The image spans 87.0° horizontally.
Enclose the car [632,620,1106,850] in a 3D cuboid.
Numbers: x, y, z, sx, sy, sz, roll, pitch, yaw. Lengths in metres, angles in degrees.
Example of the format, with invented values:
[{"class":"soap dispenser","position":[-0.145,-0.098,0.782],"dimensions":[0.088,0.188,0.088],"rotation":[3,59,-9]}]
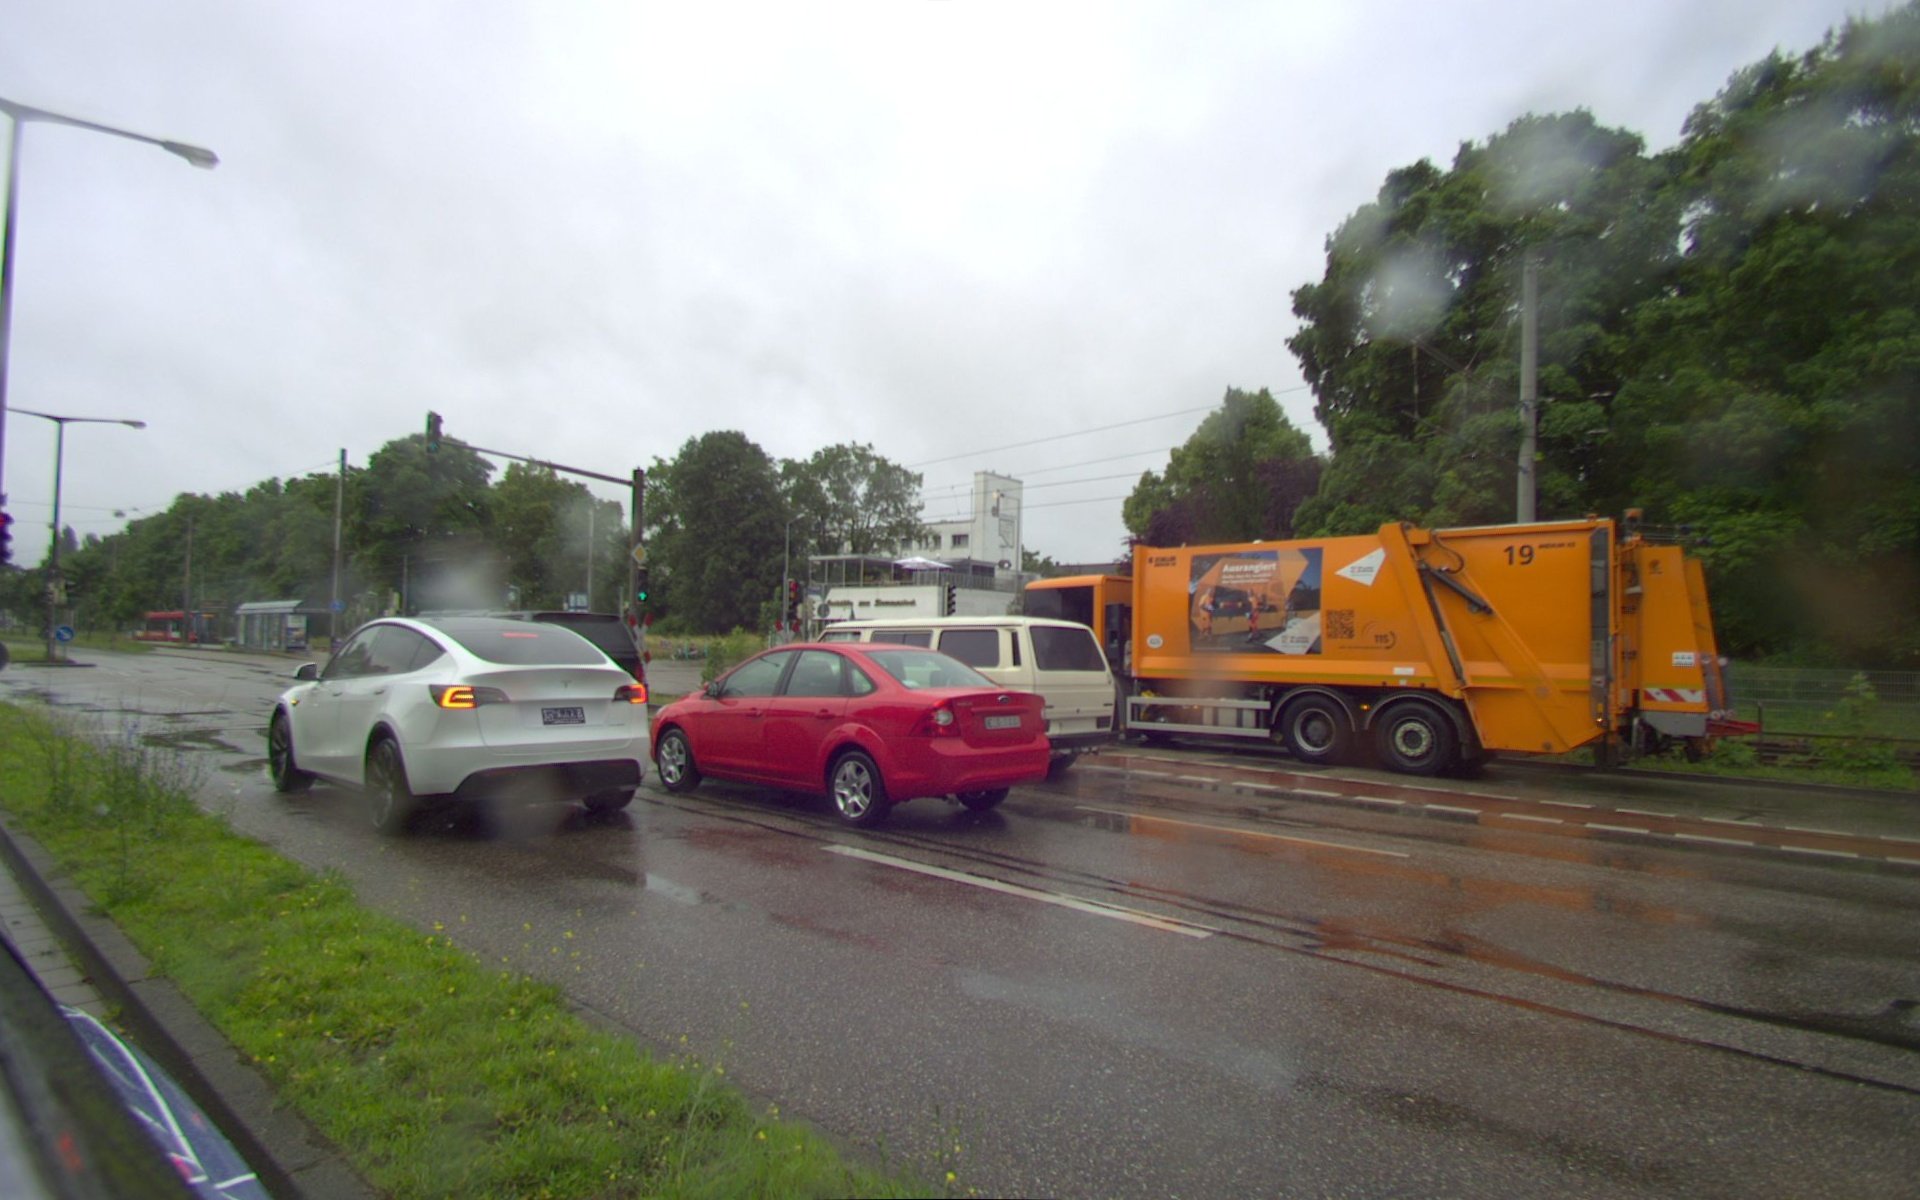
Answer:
[{"class":"car","position":[-1.020,1.039,9.342],"dimensions":[4.428,1.581,1.782],"rotation":[0,-4,42]}]

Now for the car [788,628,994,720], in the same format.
[{"class":"car","position":[-1.594,1.516,22.152],"dimensions":[4.528,1.722,1.971],"rotation":[-1,-1,44]}]

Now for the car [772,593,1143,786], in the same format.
[{"class":"car","position":[-0.189,1.057,13.066],"dimensions":[4.742,2.033,1.908],"rotation":[-2,-5,43]}]

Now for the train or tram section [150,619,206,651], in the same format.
[{"class":"train or tram section","position":[-86.791,3.905,112.308],"dimensions":[9.280,3.416,3.493],"rotation":[-1,-3,44]}]

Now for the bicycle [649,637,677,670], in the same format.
[{"class":"bicycle","position":[-16.310,2.911,55.560],"dimensions":[1.735,1.774,0.633],"rotation":[-2,-3,44]}]

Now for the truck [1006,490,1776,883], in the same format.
[{"class":"truck","position":[5.763,0.969,15.594],"dimensions":[10.406,4.199,3.348],"rotation":[-1,-1,43]}]

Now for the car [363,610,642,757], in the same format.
[{"class":"car","position":[-6.803,1.117,14.742],"dimensions":[5.088,1.787,1.786],"rotation":[-1,-4,42]}]

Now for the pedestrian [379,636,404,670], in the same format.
[{"class":"pedestrian","position":[-28.594,2.676,50.902],"dimensions":[0.800,1.670,0.776],"rotation":[-1,-1,25]}]

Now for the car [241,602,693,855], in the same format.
[{"class":"car","position":[-4.498,0.919,8.851],"dimensions":[4.696,1.629,1.940],"rotation":[-2,-4,42]}]

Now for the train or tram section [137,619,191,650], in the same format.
[{"class":"train or tram section","position":[-93.399,4.069,118.693],"dimensions":[10.263,3.427,3.493],"rotation":[-1,-3,44]}]

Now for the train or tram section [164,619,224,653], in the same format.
[{"class":"train or tram section","position":[-80.591,3.742,106.351],"dimensions":[9.280,3.416,3.493],"rotation":[-1,-3,44]}]

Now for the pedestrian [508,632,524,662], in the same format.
[{"class":"pedestrian","position":[-26.556,2.803,60.521],"dimensions":[0.681,1.806,0.623],"rotation":[-1,-1,42]}]
